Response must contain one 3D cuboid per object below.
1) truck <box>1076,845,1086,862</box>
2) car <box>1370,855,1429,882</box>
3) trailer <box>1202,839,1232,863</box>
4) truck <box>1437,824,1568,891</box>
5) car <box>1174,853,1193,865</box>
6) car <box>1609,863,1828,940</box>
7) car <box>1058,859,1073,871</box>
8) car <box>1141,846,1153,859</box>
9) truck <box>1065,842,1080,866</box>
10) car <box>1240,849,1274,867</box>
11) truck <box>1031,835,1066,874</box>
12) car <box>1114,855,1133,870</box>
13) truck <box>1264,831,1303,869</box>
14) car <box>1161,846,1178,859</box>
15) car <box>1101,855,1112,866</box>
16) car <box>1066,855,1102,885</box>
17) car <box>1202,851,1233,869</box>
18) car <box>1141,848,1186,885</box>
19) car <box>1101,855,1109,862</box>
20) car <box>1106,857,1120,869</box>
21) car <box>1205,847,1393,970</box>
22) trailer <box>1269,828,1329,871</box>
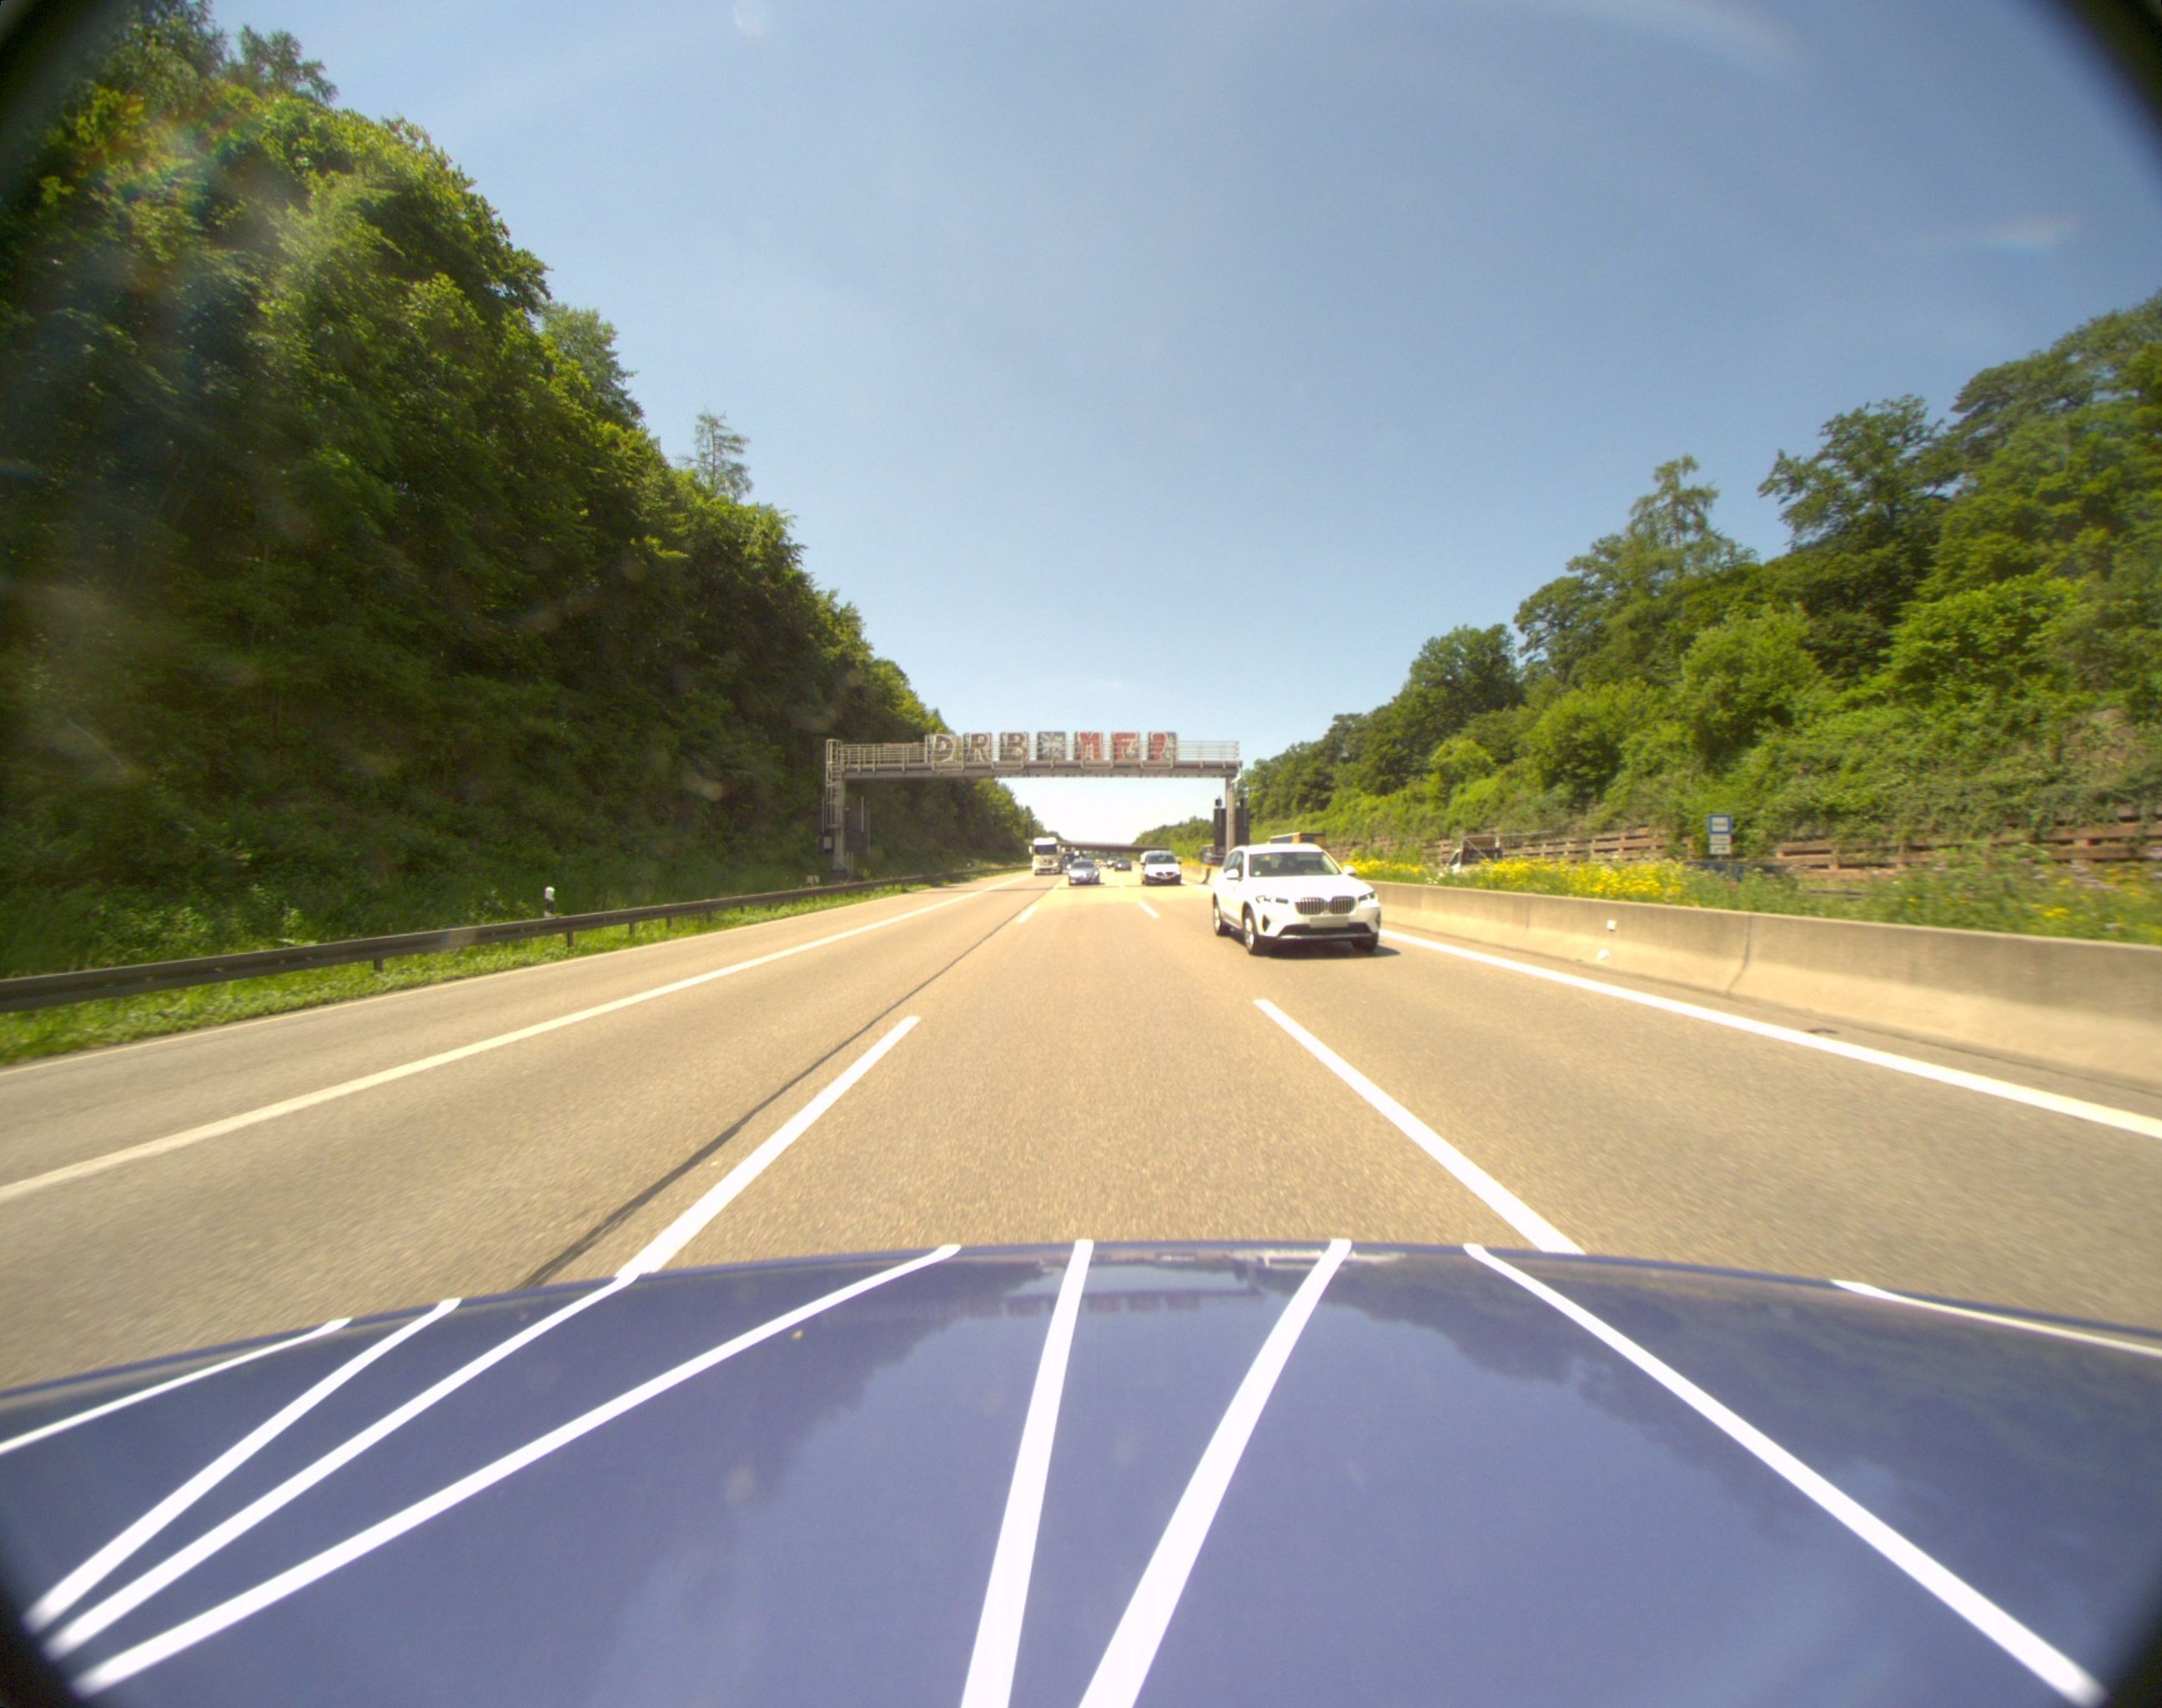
[{"bbox_3d":[-0.017,-0.217,212.269,2.627,4.365,13.087,-3,0,0],"label":"truck"},{"bbox_3d":[19.394,0.850,46.498,1.804,1.594,4.371,0,0,0],"label":"car"},{"bbox_3d":[23.991,-0.505,134.896,2.985,4.077,13.994,1,0,1],"label":"trailer"},{"bbox_3d":[20.482,0.173,37.453,2.586,2.975,7.062,0,0,0],"label":"truck"},{"bbox_3d":[13.302,0.641,98.660,1.848,1.595,4.117,0,0,0],"label":"car"},{"bbox_3d":[14.922,1.022,18.137,1.712,1.595,4.199,0,0,0],"label":"car"},{"bbox_3d":[-2.140,1.525,105.810,1.770,1.504,4.000,-3,0,0],"label":"car"},{"bbox_3d":[13.594,-0.278,156.661,2.003,2.658,4.846,0,0,0],"label":"car"},{"bbox_3d":[-1.641,-0.014,151.987,2.627,4.365,13.087,-3,0,0],"label":"truck"},{"bbox_3d":[16.300,0.364,70.585,2.008,1.595,4.862,0,0,0],"label":"car"},{"bbox_3d":[-3.234,0.036,79.114,2.844,3.518,13.087,-3,0,0],"label":"truck"},{"bbox_3d":[4.565,0.885,82.435,1.770,1.504,4.725,-3,0,0],"label":"car"},{"bbox_3d":[23.400,-0.470,88.089,2.957,4.178,6.459,1,0,3],"label":"truck"},{"bbox_3d":[17.271,-0.288,149.178,2.761,2.658,5.684,0,0,0],"label":"car"},{"bbox_3d":[4.868,1.228,143.976,1.924,1.849,4.000,-3,0,2],"label":"car"},{"bbox_3d":[0.235,0.904,44.127,1.843,1.518,4.501,-3,0,2],"label":"car"},{"bbox_3d":[12.266,0.546,68.573,2.008,1.595,4.713,0,0,0],"label":"car"},{"bbox_3d":[4.287,0.628,40.104,1.998,1.764,4.501,-3,0,2],"label":"car"},{"bbox_3d":[5.497,1.035,174.963,1.770,1.504,4.000,-3,0,0],"label":"car"},{"bbox_3d":[4.539,1.269,107.737,1.770,1.504,4.000,-3,0,0],"label":"car"},{"bbox_3d":[3.349,0.760,12.636,1.850,1.634,4.368,-2,0,0],"label":"car"},{"bbox_3d":[22.975,-0.451,81.153,2.985,4.182,14.468,1,0,4],"label":"trailer"}]
